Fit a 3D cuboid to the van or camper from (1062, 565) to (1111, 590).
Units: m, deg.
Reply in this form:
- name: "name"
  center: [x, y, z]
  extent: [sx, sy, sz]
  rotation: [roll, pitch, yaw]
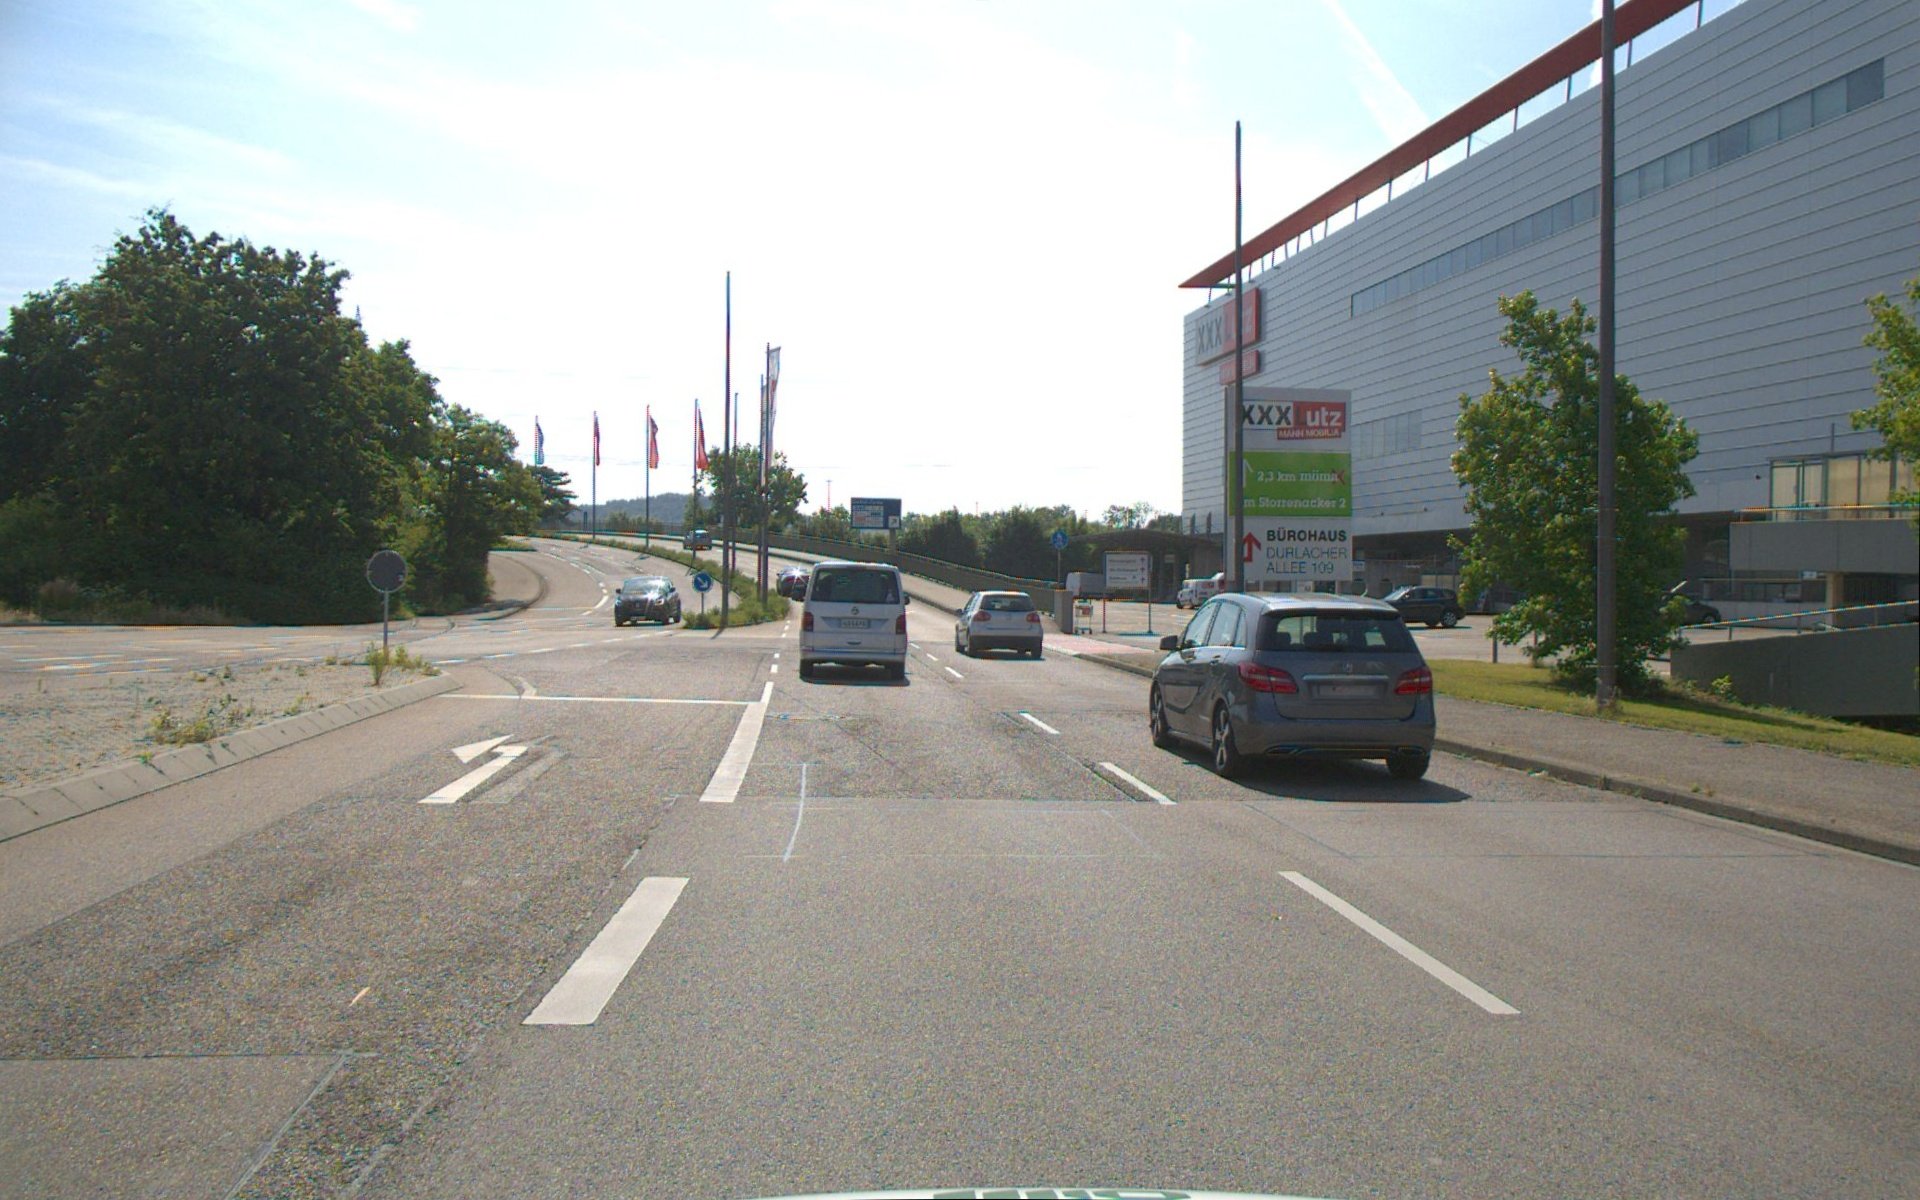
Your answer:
- name: "van or camper"
  center: [12.454, -2.221, 163.143]
  extent: [2.066, 2.216, 5.411]
  rotation: [2, -1, 39]

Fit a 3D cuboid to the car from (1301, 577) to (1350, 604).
- name: "car"
  center: [21.804, -0.587, 98.828]
  extent: [1.641, 1.535, 4.088]
  rotation: [1, 1, -6]

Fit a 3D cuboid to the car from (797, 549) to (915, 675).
- name: "car"
  center: [-1.875, 0.173, 29.494]
  extent: [1.879, 2.009, 4.294]
  rotation: [2, 1, -4]

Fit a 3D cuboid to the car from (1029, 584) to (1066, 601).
- name: "car"
  center: [7.813, -0.677, 148.573]
  extent: [1.963, 1.445, 3.979]
  rotation: [3, -1, -19]

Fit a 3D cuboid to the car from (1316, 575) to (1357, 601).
- name: "car"
  center: [23.444, -0.765, 103.099]
  extent: [1.482, 1.493, 3.250]
  rotation: [1, 1, -6]

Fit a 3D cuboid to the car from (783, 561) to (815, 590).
- name: "car"
  center: [-8.910, -1.364, 91.299]
  extent: [1.503, 1.505, 3.240]
  rotation: [2, 1, -9]

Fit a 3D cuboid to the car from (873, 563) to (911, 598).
- name: "car"
  center: [-3.460, -1.007, 83.463]
  extent: [1.502, 1.505, 3.591]
  rotation: [2, 3, -8]

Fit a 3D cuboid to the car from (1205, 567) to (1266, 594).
- name: "car"
  center: [20.641, -1.458, 124.031]
  extent: [4.108, 1.962, 1.774]
  rotation: [1, 1, -7]

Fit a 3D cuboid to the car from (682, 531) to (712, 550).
- name: "car"
  center: [-22.091, -5.004, 138.733]
  extent: [1.512, 1.505, 3.397]
  rotation: [2, 0, -26]

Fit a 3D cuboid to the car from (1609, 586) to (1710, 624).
- name: "car"
  center: [28.558, 0.209, 67.575]
  extent: [3.453, 1.400, 1.600]
  rotation: [2, 1, -11]

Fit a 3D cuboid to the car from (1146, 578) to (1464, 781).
- name: "car"
  center: [2.957, 0.615, 15.104]
  extent: [1.739, 1.566, 4.134]
  rotation: [1, 0, -4]

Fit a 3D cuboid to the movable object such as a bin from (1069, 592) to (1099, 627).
- name: "movable object such as a bin"
  center: [4.204, 0.314, 56.113]
  extent: [0.794, 1.133, 1.181]
  rotation: [1, 0, -6]

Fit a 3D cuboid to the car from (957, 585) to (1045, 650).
- name: "car"
  center: [0.915, 0.386, 38.877]
  extent: [1.634, 1.439, 3.678]
  rotation: [1, 0, -6]

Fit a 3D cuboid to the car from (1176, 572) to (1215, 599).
- name: "car"
  center: [16.075, -1.022, 113.089]
  extent: [1.641, 1.782, 4.088]
  rotation: [1, 1, -6]

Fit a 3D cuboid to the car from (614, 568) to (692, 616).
- name: "car"
  center: [-10.809, -0.302, 58.504]
  extent: [1.876, 1.634, 4.272]
  rotation: [1, 1, 1]

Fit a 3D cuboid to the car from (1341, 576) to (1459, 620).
- name: "car"
  center: [18.055, -0.101, 67.911]
  extent: [4.343, 1.642, 1.833]
  rotation: [-2, 2, -11]
